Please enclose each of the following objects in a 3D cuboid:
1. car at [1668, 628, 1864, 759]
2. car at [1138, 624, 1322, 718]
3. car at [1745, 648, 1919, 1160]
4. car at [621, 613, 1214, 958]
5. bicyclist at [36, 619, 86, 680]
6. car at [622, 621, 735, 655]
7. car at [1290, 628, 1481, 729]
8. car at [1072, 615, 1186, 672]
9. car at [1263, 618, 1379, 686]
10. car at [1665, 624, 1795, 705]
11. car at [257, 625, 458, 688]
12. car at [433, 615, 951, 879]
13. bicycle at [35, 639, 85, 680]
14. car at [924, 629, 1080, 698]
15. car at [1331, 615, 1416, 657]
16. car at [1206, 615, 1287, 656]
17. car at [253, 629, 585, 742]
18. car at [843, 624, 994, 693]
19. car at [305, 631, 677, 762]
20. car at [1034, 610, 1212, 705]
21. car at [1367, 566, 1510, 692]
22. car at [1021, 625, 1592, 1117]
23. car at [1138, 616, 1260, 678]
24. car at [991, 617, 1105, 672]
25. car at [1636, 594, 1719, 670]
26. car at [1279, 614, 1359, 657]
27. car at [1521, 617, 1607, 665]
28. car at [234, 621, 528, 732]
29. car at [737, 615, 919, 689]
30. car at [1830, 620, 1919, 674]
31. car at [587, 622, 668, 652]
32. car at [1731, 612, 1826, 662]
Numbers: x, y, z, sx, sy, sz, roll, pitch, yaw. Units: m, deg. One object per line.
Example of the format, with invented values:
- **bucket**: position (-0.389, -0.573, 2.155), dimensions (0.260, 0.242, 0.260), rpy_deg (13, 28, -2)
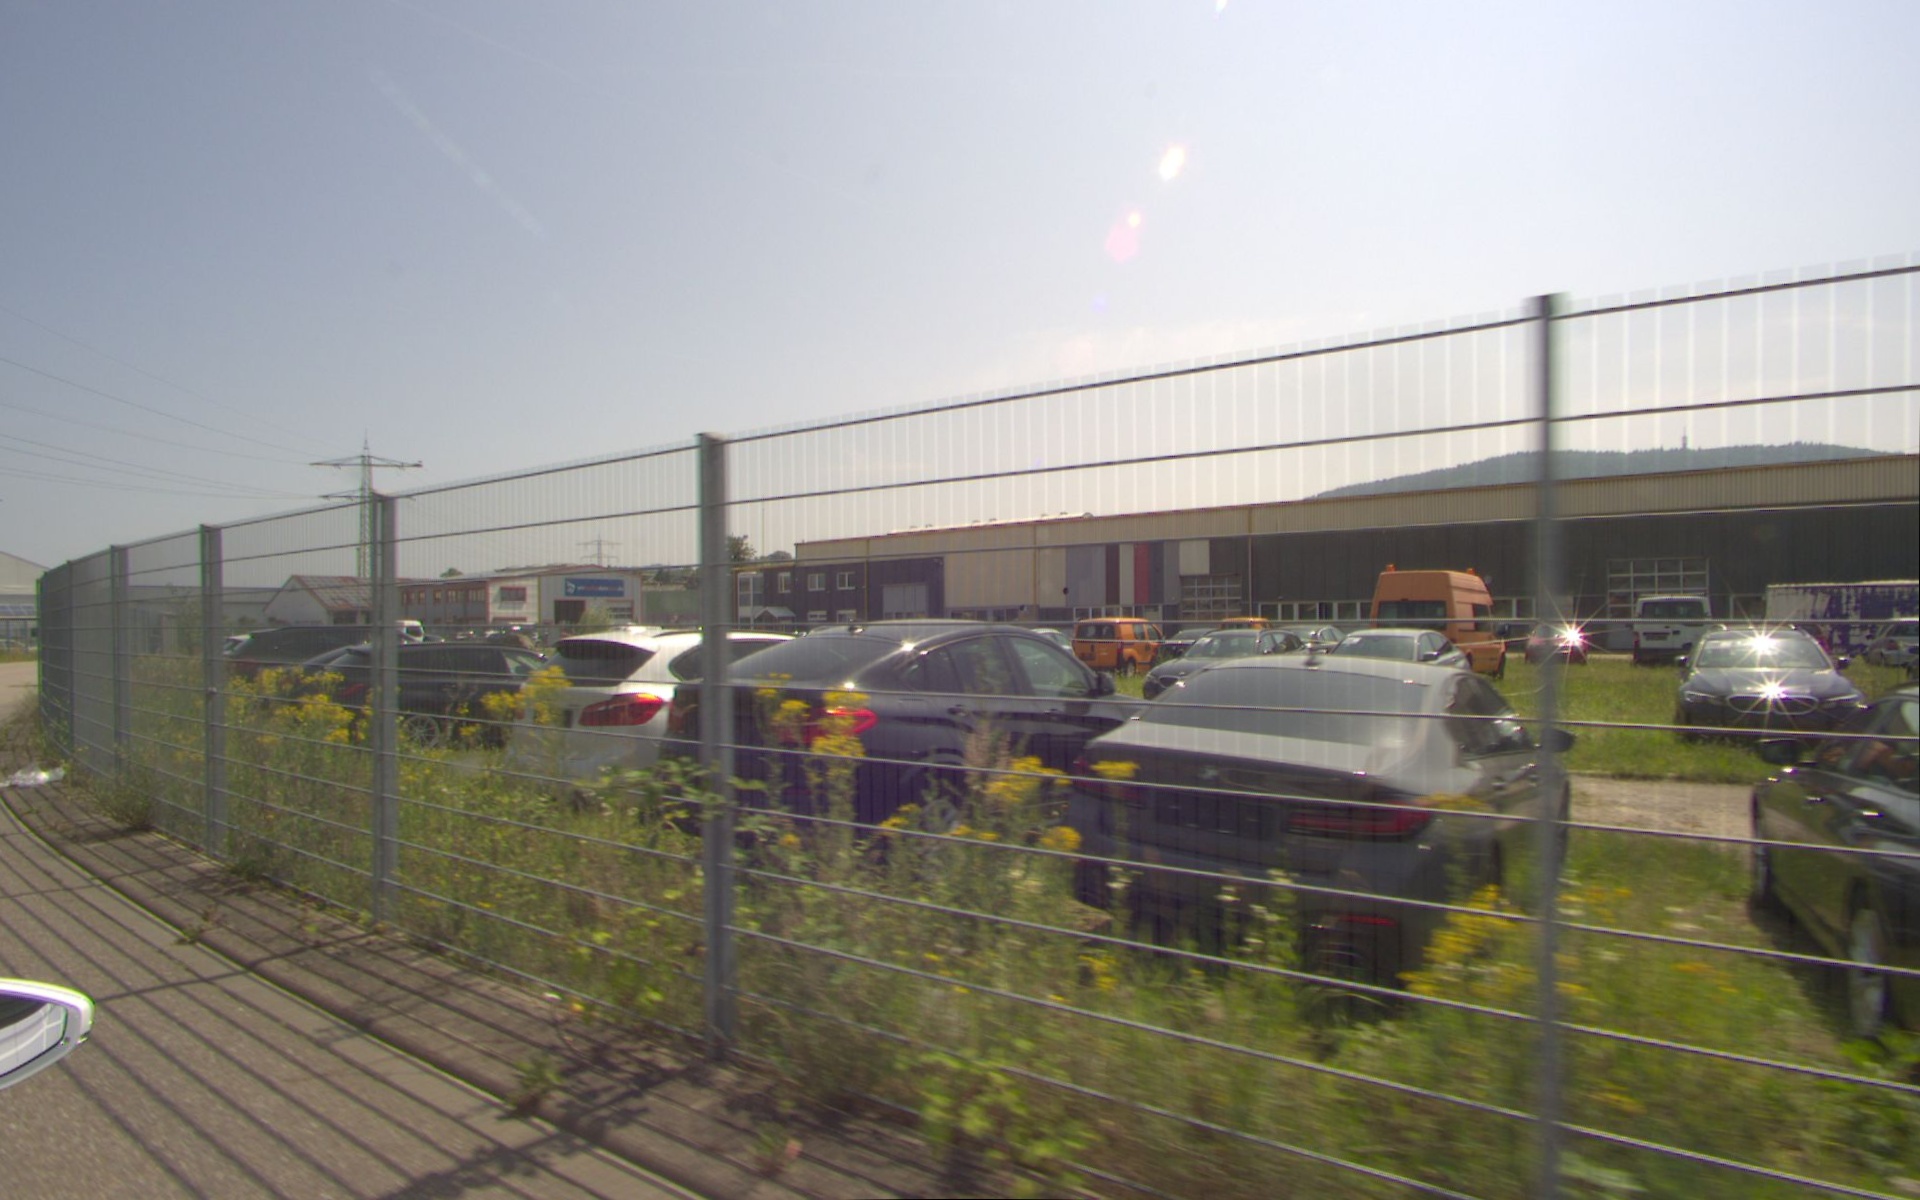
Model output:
- **car**: position (10.967, 1.121, 13.690), dimensions (1.799, 1.369, 4.724), rpy_deg (0, 0, 39)
- **car**: position (5.167, 1.217, 18.739), dimensions (1.642, 1.451, 4.542), rpy_deg (0, 0, 39)
- **car**: position (4.756, 1.006, 4.340), dimensions (1.699, 1.400, 4.459), rpy_deg (0, 0, 33)
- **car**: position (0.025, 0.953, 7.233), dimensions (1.703, 1.692, 4.447), rpy_deg (0, 0, 41)
- **bicyclist**: position (-24.868, 1.356, 27.714), dimensions (0.833, 1.639, 1.033), rpy_deg (2, -1, -31)
- **car**: position (-11.757, 1.576, 42.092), dimensions (1.608, 1.368, 4.489), rpy_deg (-1, -2, 40)
- **car**: position (7.414, 1.221, 17.146), dimensions (1.799, 1.369, 4.724), rpy_deg (0, 0, 39)
- **car**: position (4.872, 1.182, 28.613), dimensions (1.569, 1.481, 3.801), rpy_deg (0, 0, 39)
- **car**: position (8.967, 1.215, 24.718), dimensions (1.569, 1.481, 3.801), rpy_deg (0, 0, 39)
- **car**: position (14.816, 1.150, 19.243), dimensions (1.799, 1.286, 4.357), rpy_deg (0, 0, 39)
- **car**: position (-15.103, 1.442, 25.294), dimensions (4.168, 1.423, 1.829), rpy_deg (4, -3, -32)
- **car**: position (-2.065, 0.995, 8.675), dimensions (1.703, 1.692, 4.101), rpy_deg (0, 0, 41)
- **bicycle**: position (-24.898, 1.638, 27.732), dimensions (0.678, 1.065, 1.890), rpy_deg (1, -2, -31)
- **car**: position (1.022, 1.347, 22.445), dimensions (1.592, 1.319, 3.745), rpy_deg (0, 0, 39)
- **car**: position (15.573, 1.331, 37.617), dimensions (1.975, 1.483, 3.972), rpy_deg (-1, -1, 38)
- **car**: position (11.571, 1.369, 40.233), dimensions (1.730, 1.505, 4.361), rpy_deg (0, 0, 36)
- **car**: position (-8.192, 1.198, 15.372), dimensions (4.245, 1.396, 1.750), rpy_deg (0, 0, -39)
- **car**: position (-0.941, 1.344, 24.198), dimensions (1.592, 1.456, 3.745), rpy_deg (0, 0, 39)
- **car**: position (-6.257, 1.183, 13.721), dimensions (1.747, 1.396, 4.313), rpy_deg (0, 0, 45)
- **car**: position (3.549, 1.120, 21.280), dimensions (1.977, 1.740, 3.967), rpy_deg (0, 0, 41)
- **car**: position (11.201, 0.614, 23.257), dimensions (1.956, 2.619, 4.711), rpy_deg (0, 0, 39)
- **car**: position (2.335, 0.991, 5.754), dimensions (1.773, 1.603, 4.452), rpy_deg (0, 0, 38)
- **car**: position (6.442, 1.201, 26.772), dimensions (1.735, 1.481, 3.801), rpy_deg (0, 0, 39)
- **car**: position (2.698, 1.277, 30.027), dimensions (1.569, 1.481, 3.801), rpy_deg (0, 0, 39)
- **car**: position (22.222, 0.929, 30.999), dimensions (1.948, 2.200, 4.360), rpy_deg (0, 0, 36)
- **car**: position (13.848, 1.308, 38.474), dimensions (1.730, 1.505, 4.361), rpy_deg (0, 0, 36)
- **car**: position (19.761, 1.285, 32.682), dimensions (1.820, 1.396, 4.357), rpy_deg (0, 0, 39)
- **car**: position (-9.947, 1.227, 17.456), dimensions (4.236, 1.659, 1.754), rpy_deg (0, 0, -32)
- **car**: position (-3.281, 1.250, 25.524), dimensions (1.858, 1.670, 4.436), rpy_deg (0, 0, 43)
- **car**: position (27.057, 1.324, 29.397), dimensions (1.948, 1.404, 4.361), rpy_deg (0, 0, 36)
- **car**: position (-22.371, 2.462, 67.577), dimensions (1.836, 1.924, 5.038), rpy_deg (-1, -2, 40)
- **car**: position (24.176, 1.034, 29.704), dimensions (1.948, 1.340, 4.361), rpy_deg (0, 0, 36)
